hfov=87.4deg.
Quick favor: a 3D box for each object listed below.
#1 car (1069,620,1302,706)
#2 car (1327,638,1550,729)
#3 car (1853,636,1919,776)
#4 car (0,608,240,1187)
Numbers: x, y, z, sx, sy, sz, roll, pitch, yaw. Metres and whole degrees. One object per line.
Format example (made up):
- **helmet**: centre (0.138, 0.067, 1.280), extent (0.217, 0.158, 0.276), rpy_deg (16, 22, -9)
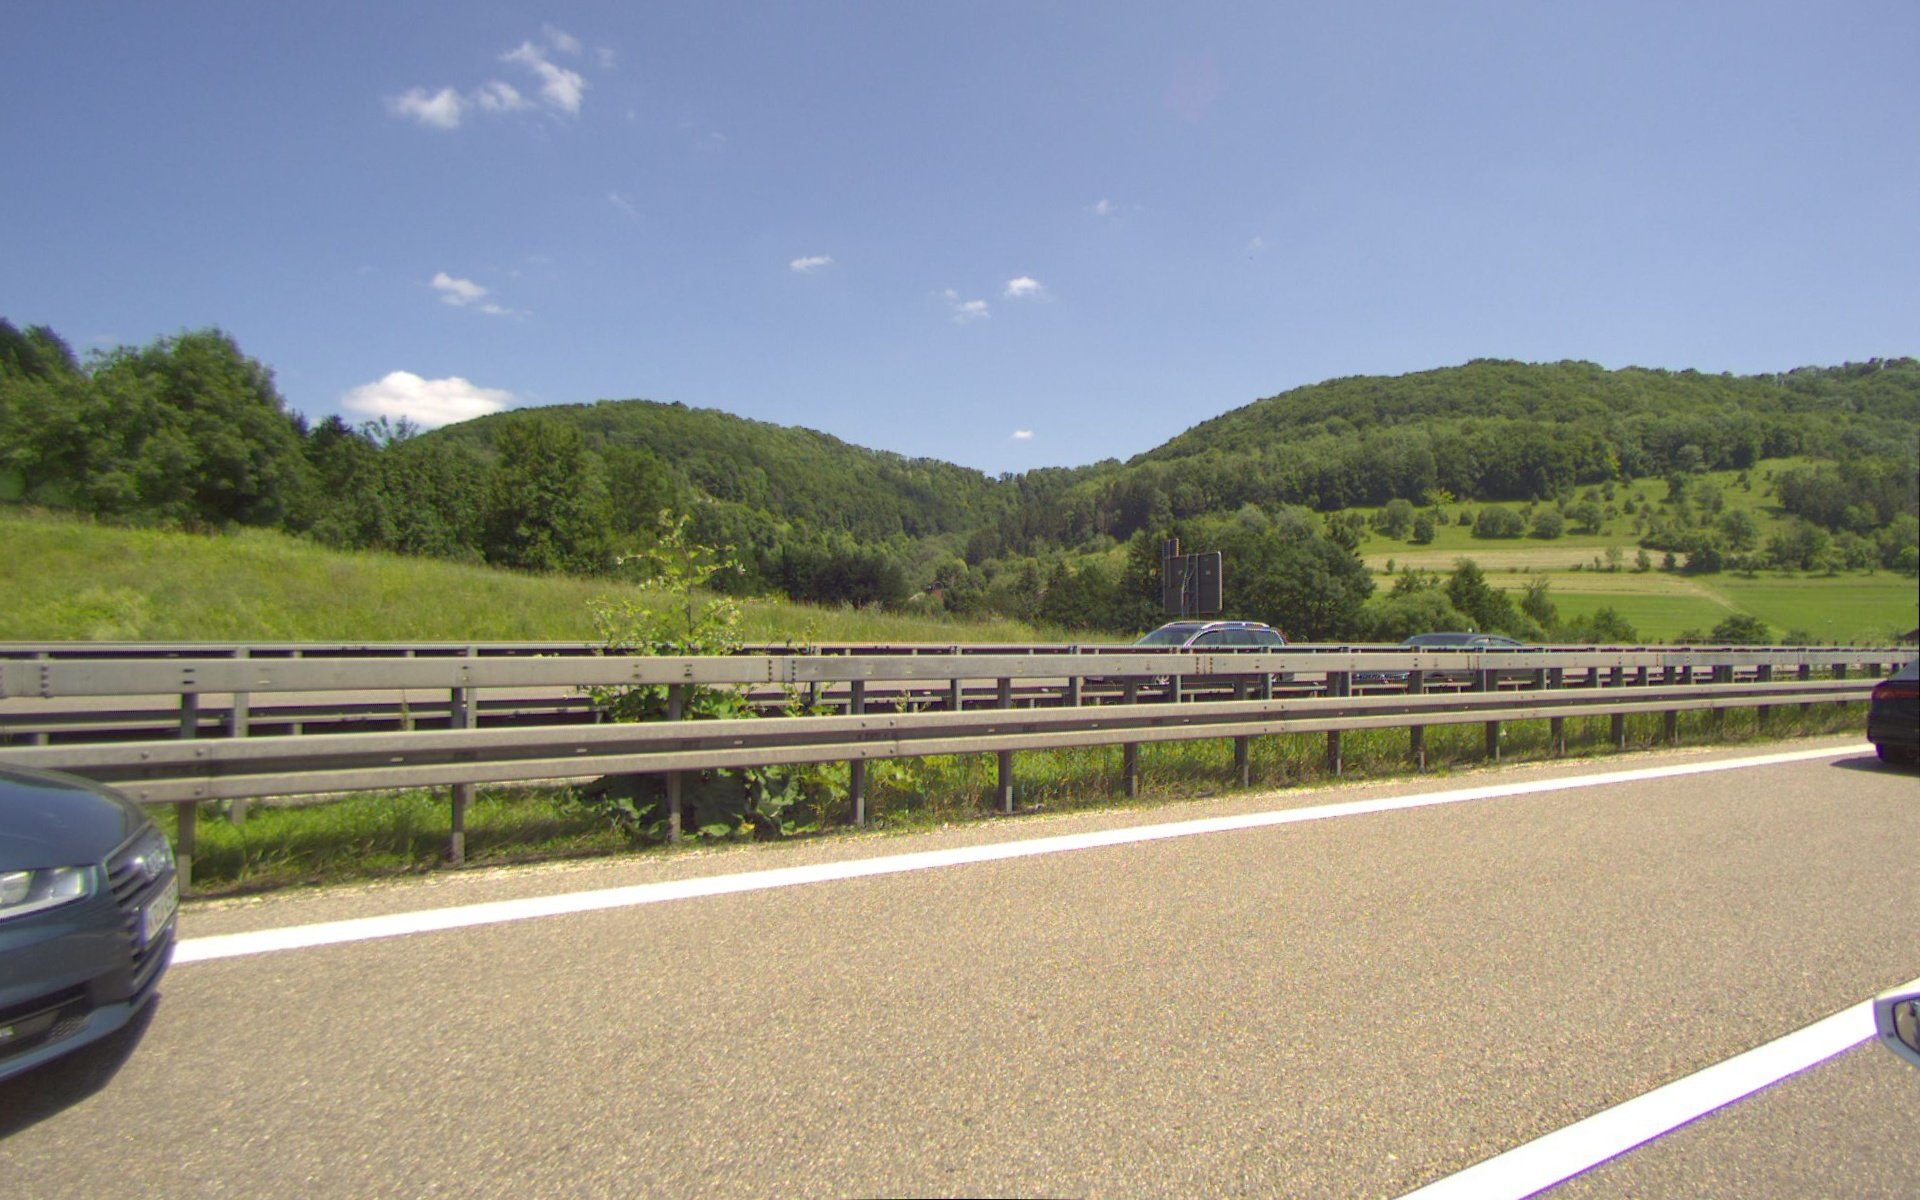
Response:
- **car**: centre (4.588, 1.215, 20.324), extent (4.468, 1.539, 1.984), rpy_deg (2, -1, -30)
- **car**: centre (8.967, 1.482, 18.743), extent (4.180, 1.495, 1.724), rpy_deg (2, -1, -30)
- **car**: centre (12.015, 1.138, 11.132), extent (4.912, 1.409, 1.792), rpy_deg (2, -1, -31)
- **car**: centre (-4.220, 0.699, 2.330), extent (3.953, 1.407, 1.680), rpy_deg (2, -1, -30)
